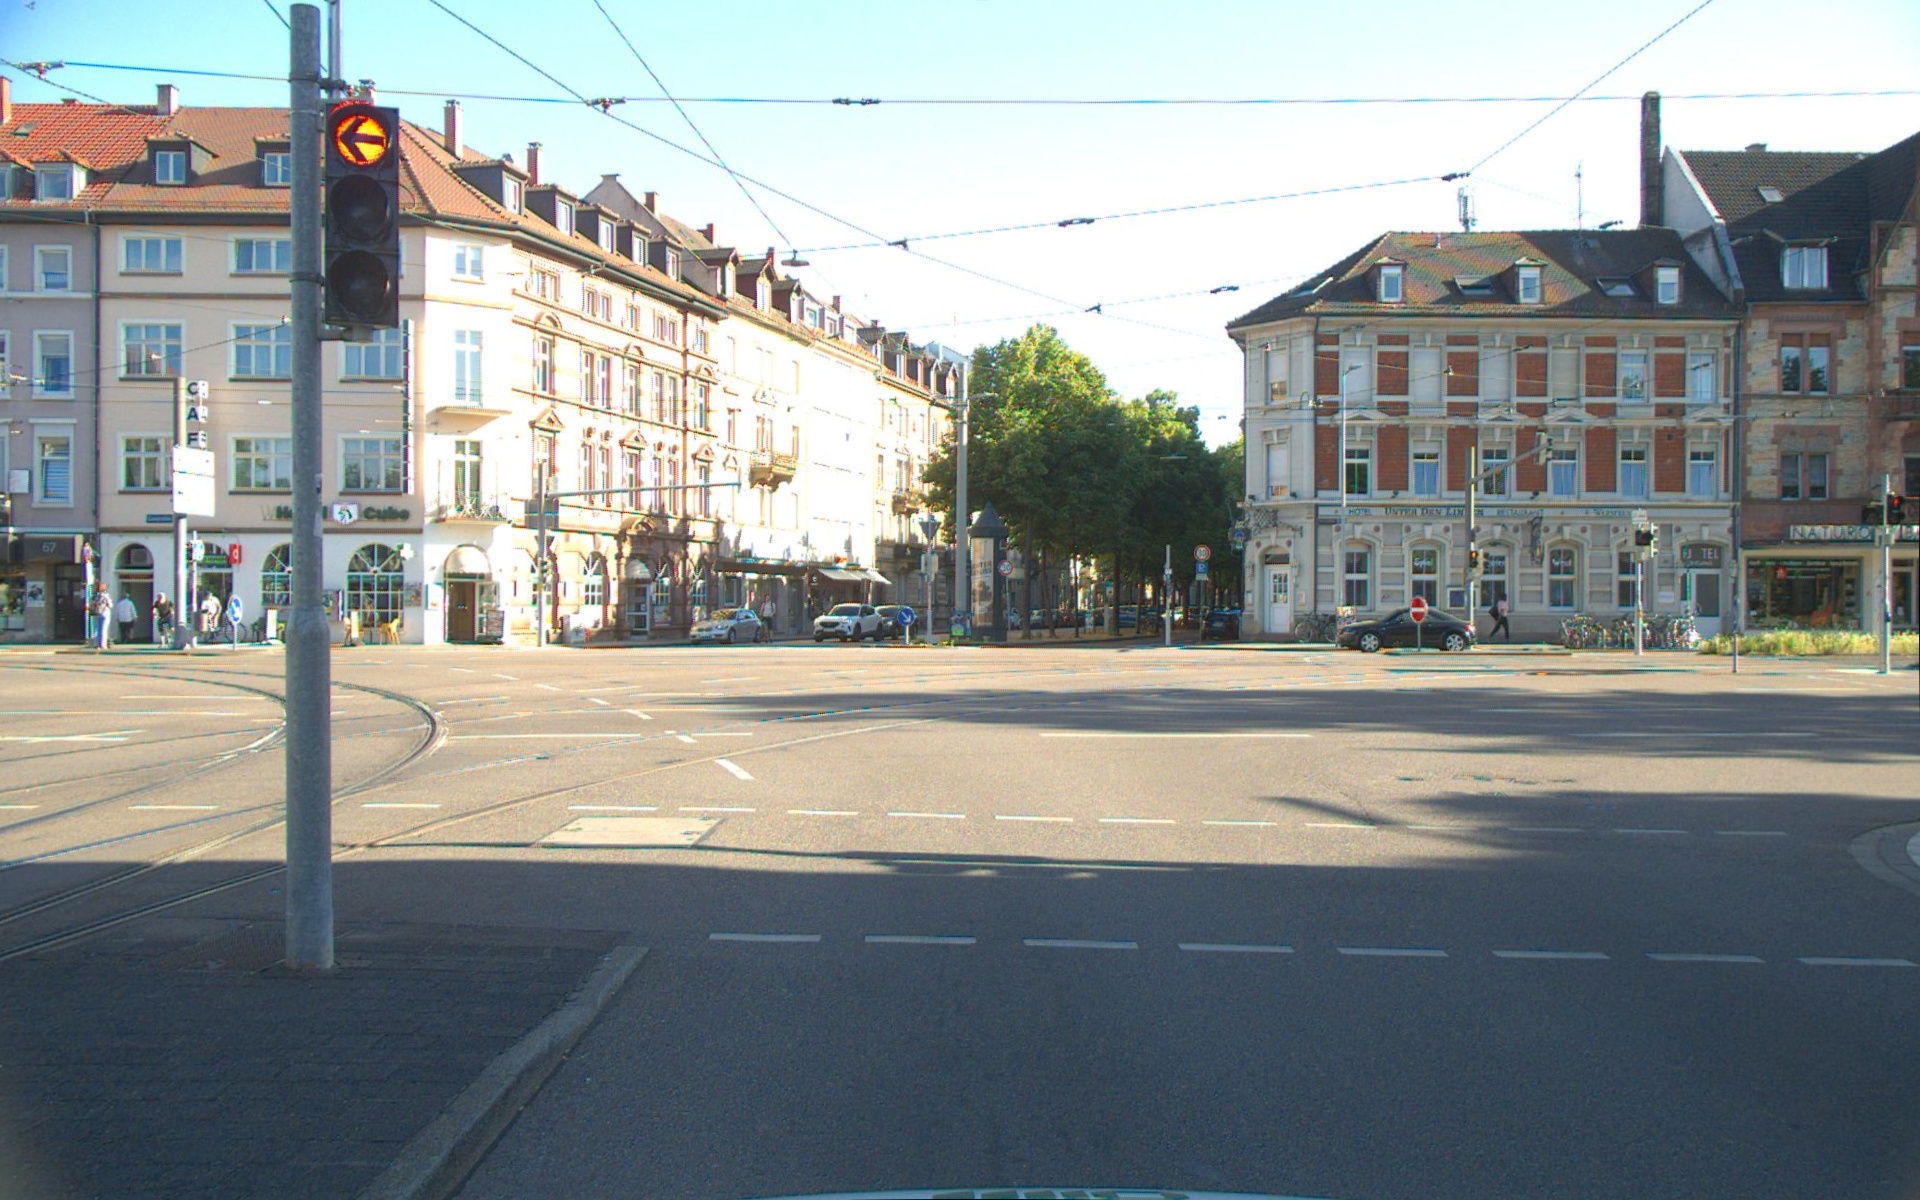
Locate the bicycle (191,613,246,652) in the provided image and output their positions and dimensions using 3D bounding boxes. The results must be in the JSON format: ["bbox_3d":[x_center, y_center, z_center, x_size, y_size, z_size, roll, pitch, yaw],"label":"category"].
[{"bbox_3d":[-25.339,1.109,56.547,1.684,1.299,0.385,0,0,-18],"label":"bicycle"}]

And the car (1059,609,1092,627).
[{"bbox_3d":[9.576,1.475,136.719,1.951,1.429,4.172,0,0,15],"label":"car"}]

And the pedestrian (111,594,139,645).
[{"bbox_3d":[-28.580,0.663,56.610,0.727,1.711,0.626,0,0,-12],"label":"pedestrian"}]

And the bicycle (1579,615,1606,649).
[{"bbox_3d":[20.477,1.024,53.569,0.476,1.038,1.785,0,0,9],"label":"bicycle"}]

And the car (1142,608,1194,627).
[{"bbox_3d":[14.050,1.147,111.655,3.360,1.261,1.578,0,0,10],"label":"car"}]

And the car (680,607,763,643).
[{"bbox_3d":[-9.595,0.984,66.874,1.951,1.385,3.821,0,0,15],"label":"car"}]

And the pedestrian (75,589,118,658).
[{"bbox_3d":[-21.453,0.573,41.105,0.725,1.711,0.628,0,0,-1],"label":"pedestrian"}]

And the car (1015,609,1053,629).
[{"bbox_3d":[5.480,1.374,122.633,1.951,1.429,4.172,0,0,15],"label":"car"}]

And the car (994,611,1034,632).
[{"bbox_3d":[3.821,1.480,116.888,1.951,1.429,4.172,0,0,15],"label":"car"}]

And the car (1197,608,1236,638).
[{"bbox_3d":[12.858,1.141,82.699,1.717,1.445,4.003,0,0,12],"label":"car"}]

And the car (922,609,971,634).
[{"bbox_3d":[-0.814,1.315,102.050,1.951,1.429,4.172,0,0,15],"label":"car"}]

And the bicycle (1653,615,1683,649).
[{"bbox_3d":[22.909,1.033,53.554,0.476,1.038,1.785,0,0,9],"label":"bicycle"}]

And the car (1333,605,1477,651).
[{"bbox_3d":[13.050,0.811,48.725,3.973,1.323,1.724,0,0,10],"label":"car"}]

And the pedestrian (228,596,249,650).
[{"bbox_3d":[-17.201,0.546,39.424,0.358,1.275,0.449,0,0,-12],"label":"pedestrian"}]

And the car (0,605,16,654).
[{"bbox_3d":[-32.129,0.901,52.149,3.651,1.517,1.818,1,0,2],"label":"car"}]

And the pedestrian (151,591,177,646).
[{"bbox_3d":[-24.948,0.584,51.828,0.731,1.711,0.623,0,0,-26],"label":"pedestrian"}]

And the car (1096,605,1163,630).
[{"bbox_3d":[10.254,1.036,99.817,3.902,1.480,1.683,0,0,10],"label":"car"}]

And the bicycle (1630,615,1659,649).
[{"bbox_3d":[22.114,1.019,53.474,0.476,1.038,1.785,0,0,9],"label":"bicycle"}]

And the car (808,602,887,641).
[{"bbox_3d":[-4.526,0.847,67.380,1.951,1.542,4.172,0,0,15],"label":"car"}]

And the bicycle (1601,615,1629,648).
[{"bbox_3d":[21.167,1.003,53.477,0.476,1.038,1.785,0,0,9],"label":"bicycle"}]

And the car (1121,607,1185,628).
[{"bbox_3d":[12.321,1.138,105.556,3.902,1.311,1.696,0,0,10],"label":"car"}]

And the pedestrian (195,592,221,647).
[{"bbox_3d":[-23.553,0.606,51.782,0.731,1.711,0.623,0,0,-26],"label":"pedestrian"}]

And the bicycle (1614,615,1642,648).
[{"bbox_3d":[21.616,1.011,53.545,0.476,1.038,1.785,0,0,9],"label":"bicycle"}]

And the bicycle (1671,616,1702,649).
[{"bbox_3d":[23.594,1.046,53.736,0.476,1.038,1.785,0,0,9],"label":"bicycle"}]

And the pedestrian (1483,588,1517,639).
[{"bbox_3d":[18.651,0.467,57.106,1.013,1.741,0.630,1,-1,8],"label":"pedestrian"}]

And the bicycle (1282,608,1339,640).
[{"bbox_3d":[12.180,0.829,57.507,1.911,1.072,0.716,0,0,9],"label":"bicycle"}]

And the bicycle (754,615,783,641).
[{"bbox_3d":[-7.552,1.098,65.160,0.641,1.018,1.666,1,0,11],"label":"bicycle"}]

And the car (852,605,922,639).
[{"bbox_3d":[-3.222,0.952,73.572,1.951,1.429,4.172,0,0,15],"label":"car"}]

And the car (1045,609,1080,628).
[{"bbox_3d":[8.147,1.428,131.501,1.951,1.429,4.172,0,0,15],"label":"car"}]

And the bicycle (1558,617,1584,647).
[{"bbox_3d":[19.808,1.017,53.646,0.476,0.930,1.785,0,0,9],"label":"bicycle"}]

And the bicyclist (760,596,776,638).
[{"bbox_3d":[-7.543,0.653,65.061,0.479,1.629,0.667,0,0,9],"label":"bicyclist"}]
